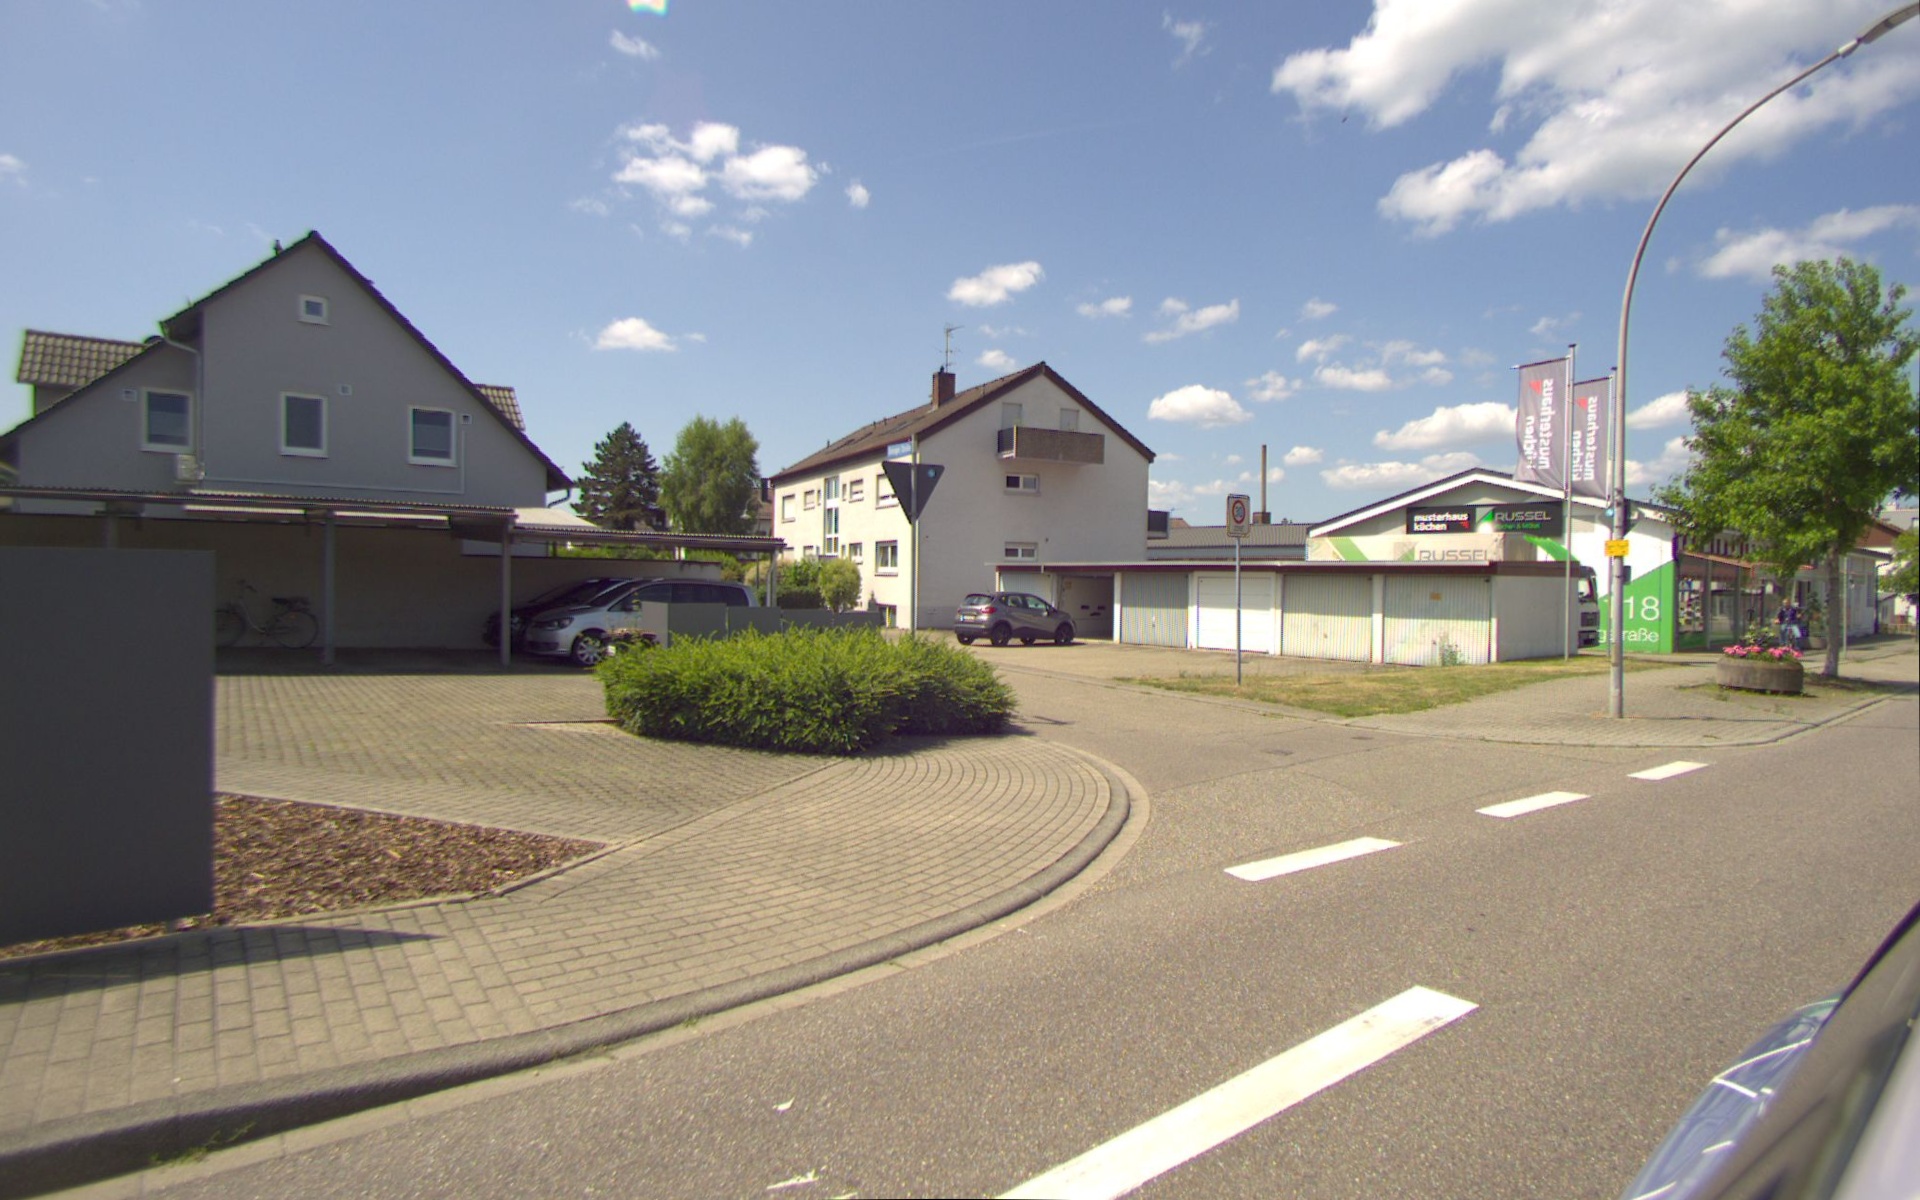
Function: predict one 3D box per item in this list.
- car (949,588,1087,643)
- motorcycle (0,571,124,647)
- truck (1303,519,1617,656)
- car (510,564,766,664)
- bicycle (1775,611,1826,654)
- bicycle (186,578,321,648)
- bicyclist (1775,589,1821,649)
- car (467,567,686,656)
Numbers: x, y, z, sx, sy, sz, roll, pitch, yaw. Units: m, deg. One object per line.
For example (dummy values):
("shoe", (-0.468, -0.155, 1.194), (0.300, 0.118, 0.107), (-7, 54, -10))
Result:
("car", (1.764, 0.429, 30.022), (4.057, 1.522, 1.679), (0, 1, -39))
("motorcycle", (-14.870, 0.148, 16.422), (1.916, 1.178, 0.649), (3, -1, -37))
("truck", (14.825, -0.392, 30.705), (2.631, 3.617, 8.185), (-1, 1, -40))
("car", (-5.909, 0.287, 18.801), (4.137, 1.669, 1.742), (3, 0, -38))
("bicycle", (23.794, 0.922, 28.637), (1.909, 1.180, 0.804), (2, -3, -42))
("bicycle", (-12.674, 0.242, 18.203), (1.916, 1.187, 0.649), (3, -1, -37))
("bicyclist", (23.605, 0.554, 28.503), (1.092, 1.651, 0.804), (2, -3, -42))
("car", (-7.778, 0.254, 20.638), (3.782, 1.607, 1.742), (3, 0, -38))
